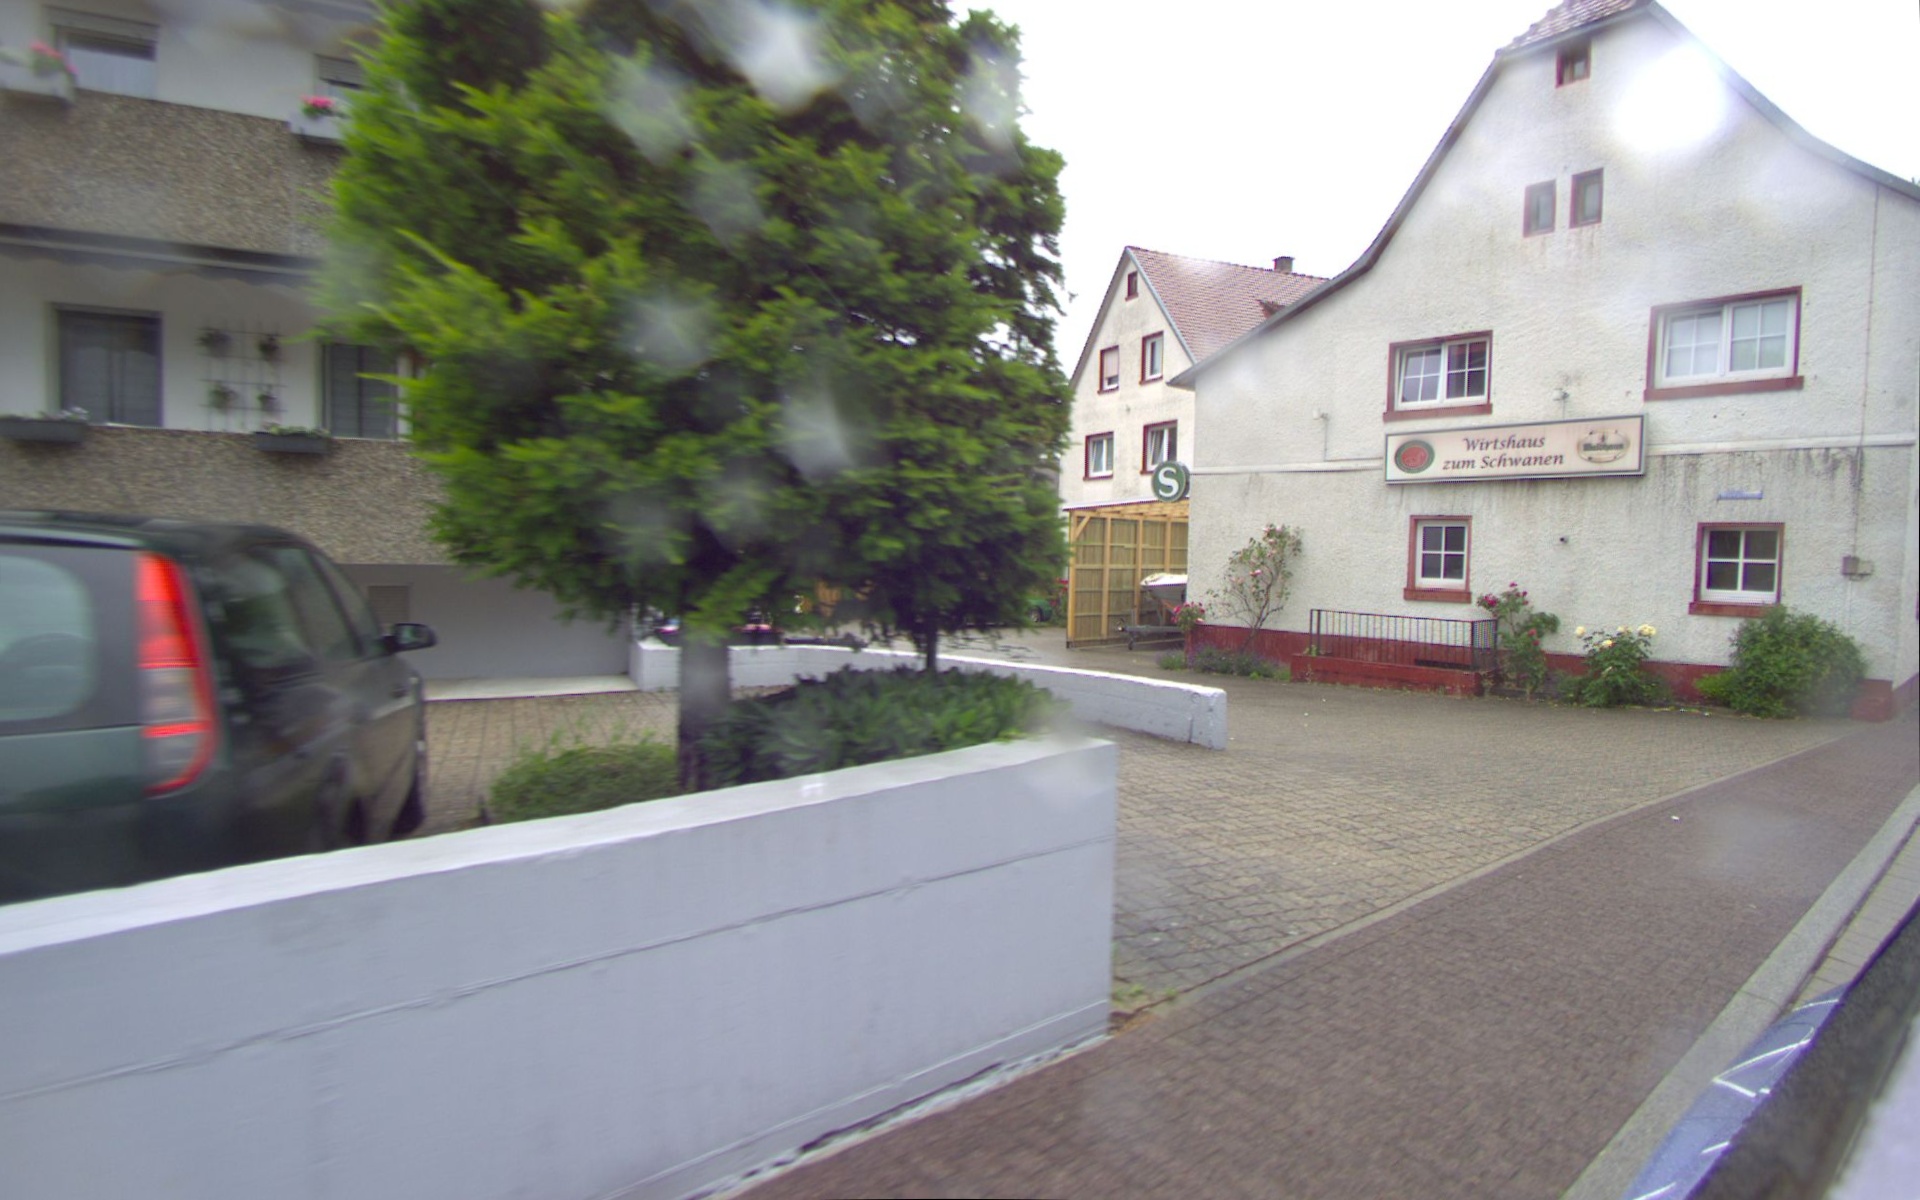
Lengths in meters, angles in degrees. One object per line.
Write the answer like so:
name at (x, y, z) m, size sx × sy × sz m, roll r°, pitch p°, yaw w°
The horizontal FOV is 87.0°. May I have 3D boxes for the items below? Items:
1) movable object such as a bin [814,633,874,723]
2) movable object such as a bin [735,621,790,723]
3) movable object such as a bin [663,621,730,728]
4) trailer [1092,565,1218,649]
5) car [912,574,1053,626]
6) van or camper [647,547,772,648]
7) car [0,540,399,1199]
movable object such as a bin at (-1.309, 0.876, 11.501) m, size 0.643 × 0.960 × 0.626 m, roll 0°, pitch 1°, yaw -3°
movable object such as a bin at (-2.231, 0.794, 11.408) m, size 0.558 × 1.080 × 0.627 m, roll 0°, pitch 1°, yaw -15°
movable object such as a bin at (-2.957, 0.816, 11.348) m, size 0.676 × 1.132 × 0.627 m, roll 0°, pitch 1°, yaw -19°
trailer at (4.390, 0.135, 22.683) m, size 2.566 × 1.763 × 1.570 m, roll 0°, pitch 1°, yaw -43°
car at (0.660, -0.035, 29.248) m, size 3.748 × 1.393 × 1.636 m, roll 0°, pitch 3°, yaw -27°
van or camper at (-5.807, -0.146, 22.983) m, size 2.154 × 2.038 × 4.864 m, roll 0°, pitch 2°, yaw -21°
car at (-3.020, 0.552, 3.474) m, size 1.660 × 1.498 × 4.250 m, roll 0°, pitch 2°, yaw -26°
